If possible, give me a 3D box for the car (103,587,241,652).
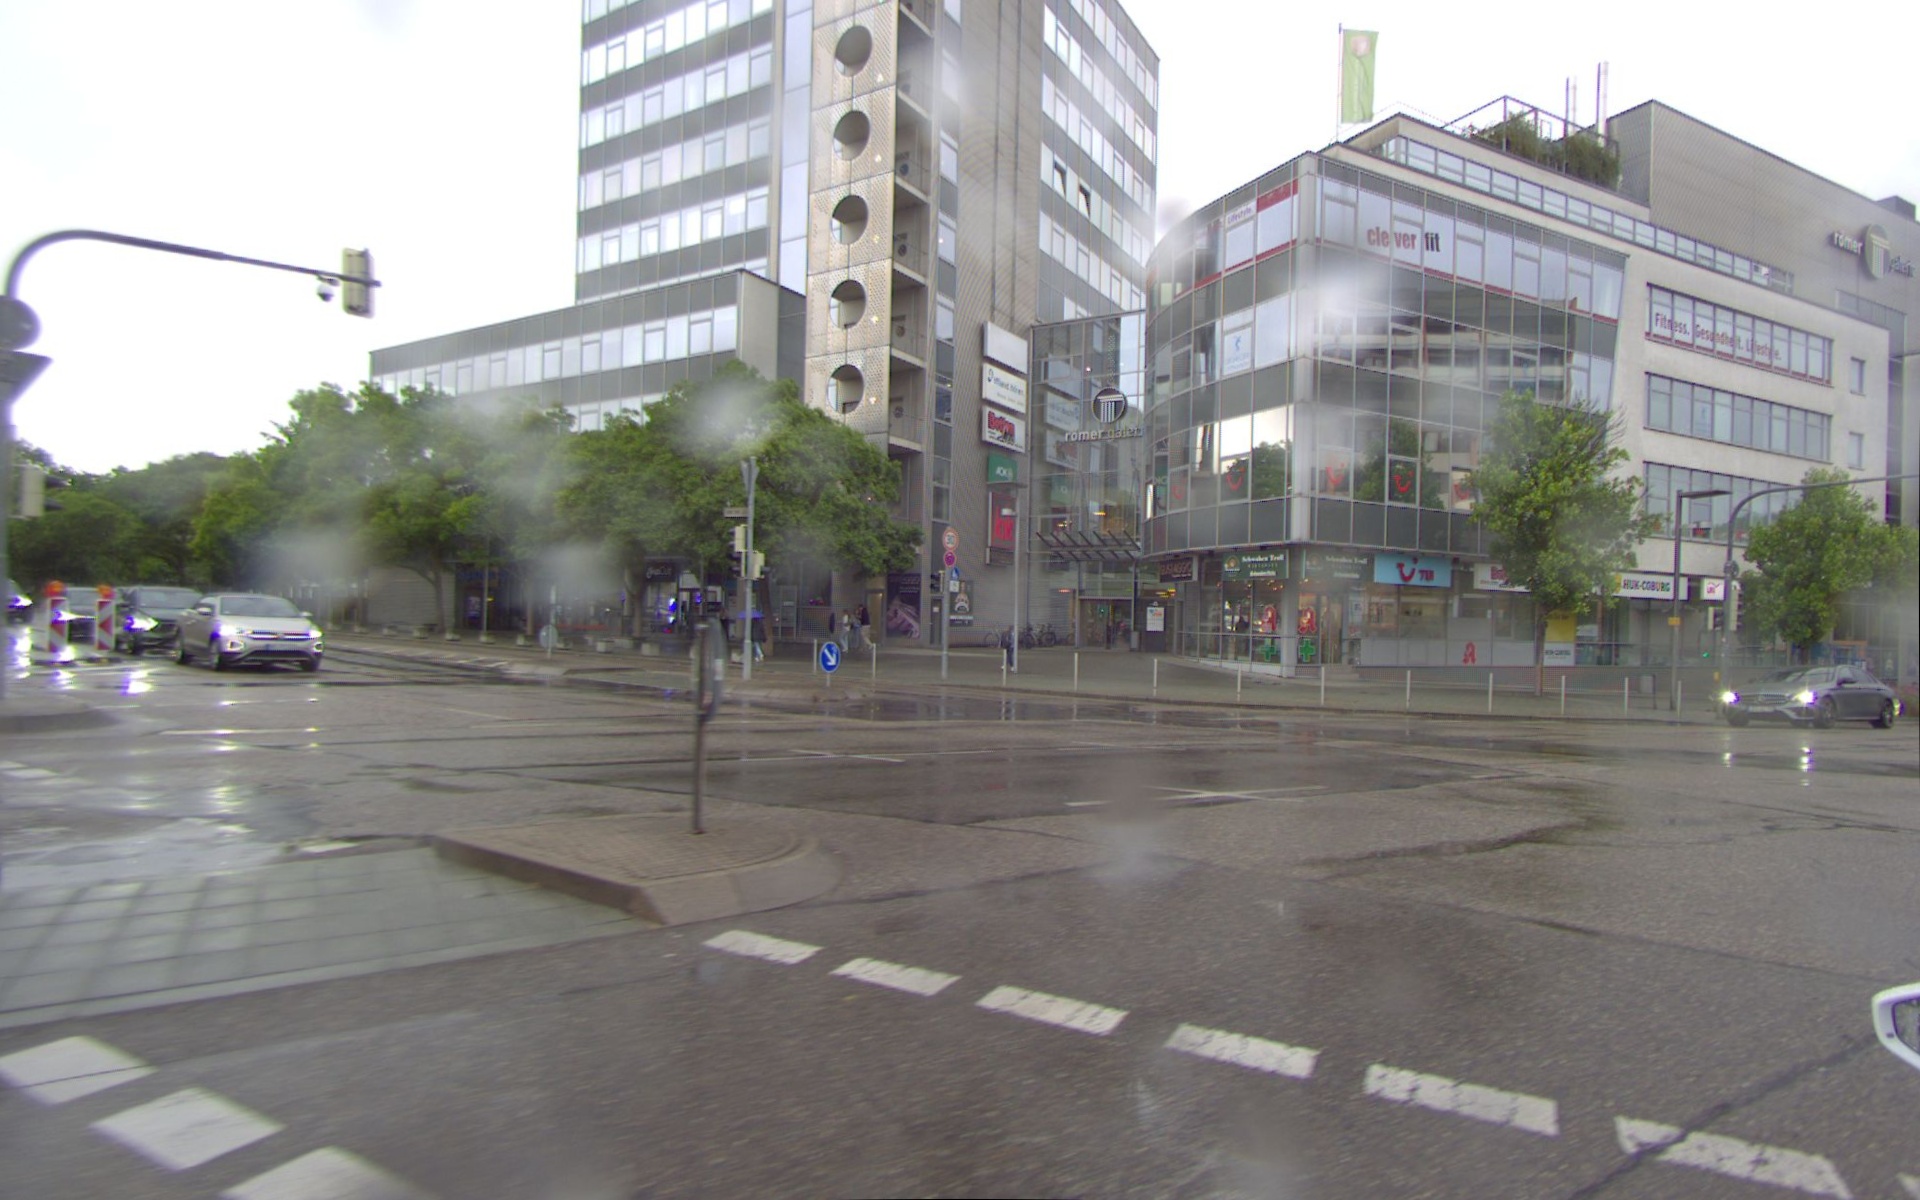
[{"bbox_3d":[-19.764,0.466,25.146,3.997,1.439,1.862,2,-2,39],"label":"car"}]

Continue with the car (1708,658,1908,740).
[{"bbox_3d":[19.566,2.203,23.137,4.842,1.653,1.912,2,-1,-29],"label":"car"}]

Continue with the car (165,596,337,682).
[{"bbox_3d":[-14.732,0.756,20.799,4.141,1.616,1.862,0,-2,39],"label":"car"}]

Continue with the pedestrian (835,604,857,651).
[{"bbox_3d":[-4.725,1.139,41.691,0.738,1.893,0.834,1,-1,2],"label":"pedestrian"}]

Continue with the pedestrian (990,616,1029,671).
[{"bbox_3d":[1.675,1.483,34.174,1.011,1.843,0.843,2,-1,-26],"label":"pedestrian"}]

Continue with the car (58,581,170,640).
[{"bbox_3d":[-25.232,0.281,29.923,3.939,1.616,1.862,1,0,39],"label":"car"}]

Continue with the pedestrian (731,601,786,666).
[{"bbox_3d":[-6.639,1.086,33.117,1.305,2.040,1.163,1,0,31],"label":"pedestrian"}]

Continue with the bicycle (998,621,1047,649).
[{"bbox_3d":[2.954,1.667,47.676,2.241,1.263,0.675,1,-1,31],"label":"bicycle"}]

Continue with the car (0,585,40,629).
[{"bbox_3d":[-37.436,0.230,39.169,3.937,1.616,1.709,1,0,38],"label":"car"}]

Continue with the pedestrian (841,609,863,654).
[{"bbox_3d":[-4.658,1.352,43.407,0.738,1.893,0.834,1,-1,5],"label":"pedestrian"}]

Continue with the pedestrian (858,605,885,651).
[{"bbox_3d":[-3.690,1.177,41.916,0.819,1.893,0.751,1,-1,34],"label":"pedestrian"}]

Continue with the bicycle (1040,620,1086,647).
[{"bbox_3d":[5.187,1.675,50.579,2.241,1.263,0.675,1,-1,31],"label":"bicycle"}]

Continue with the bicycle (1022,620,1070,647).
[{"bbox_3d":[4.235,1.668,49.616,2.241,1.263,0.675,1,-1,31],"label":"bicycle"}]

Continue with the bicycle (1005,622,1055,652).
[{"bbox_3d":[3.227,1.697,46.291,2.241,1.263,0.675,1,-1,31],"label":"bicycle"}]
